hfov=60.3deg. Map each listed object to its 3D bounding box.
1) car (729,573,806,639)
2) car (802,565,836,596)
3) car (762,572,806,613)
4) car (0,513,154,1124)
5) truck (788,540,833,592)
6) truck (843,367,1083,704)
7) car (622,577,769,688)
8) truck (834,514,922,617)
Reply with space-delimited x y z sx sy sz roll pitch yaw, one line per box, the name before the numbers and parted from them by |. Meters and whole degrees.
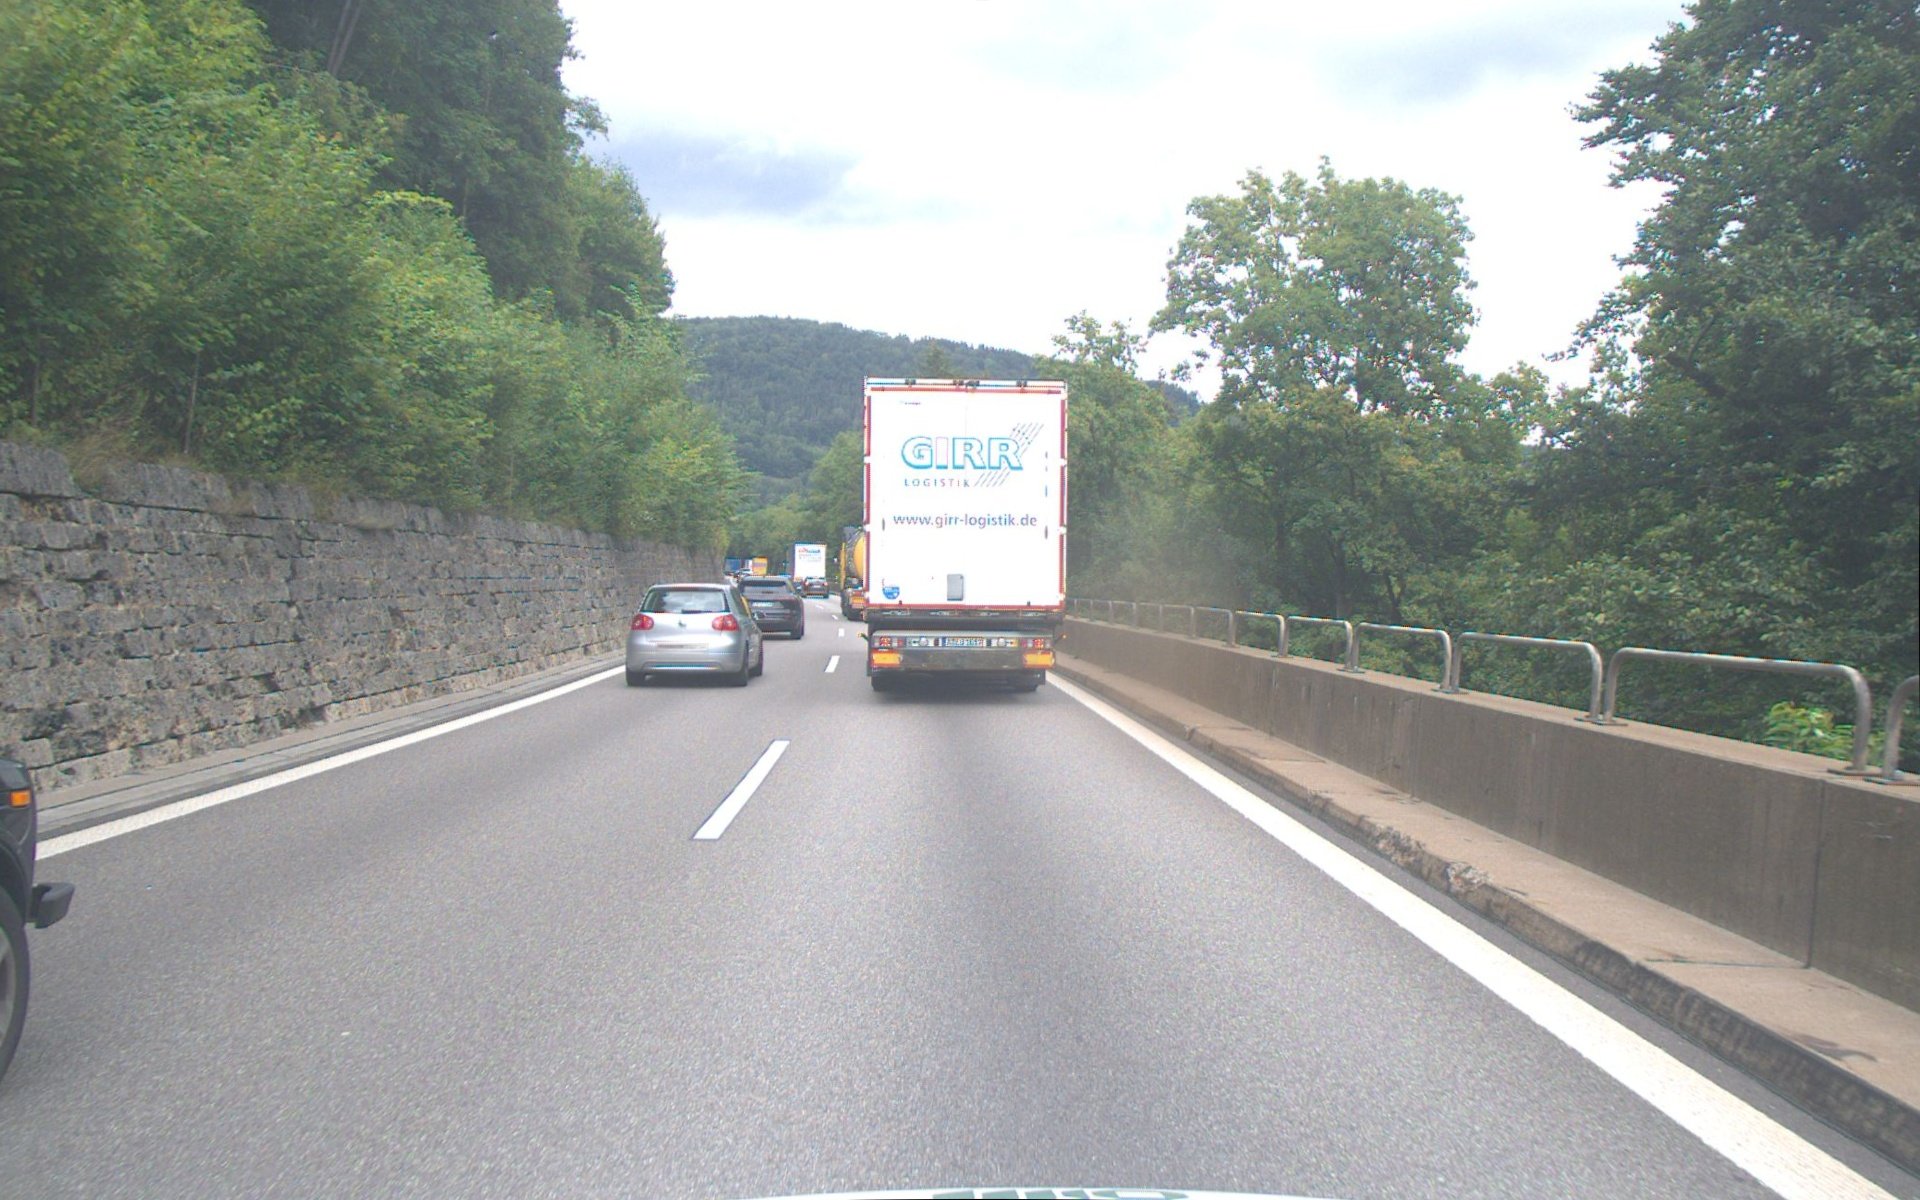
car | -4.974 0.125 43.054 1.880 1.622 4.174 1 0 -6
car | -9.467 -1.293 111.442 1.953 2.049 3.999 1 0 0
car | -8.340 -0.364 78.503 1.954 1.881 3.996 1 1 -5
car | -3.409 0.597 3.326 1.635 1.667 4.067 1 0 -1
truck | -12.323 -2.714 135.481 3.443 3.914 11.761 1 0 -6
truck | -0.138 -0.823 24.597 2.850 4.029 9.275 1 1 -2
car | -3.886 0.436 24.854 1.694 1.512 3.998 1 0 -2
truck | -3.269 -1.266 63.501 2.440 3.634 9.291 1 0 -8
